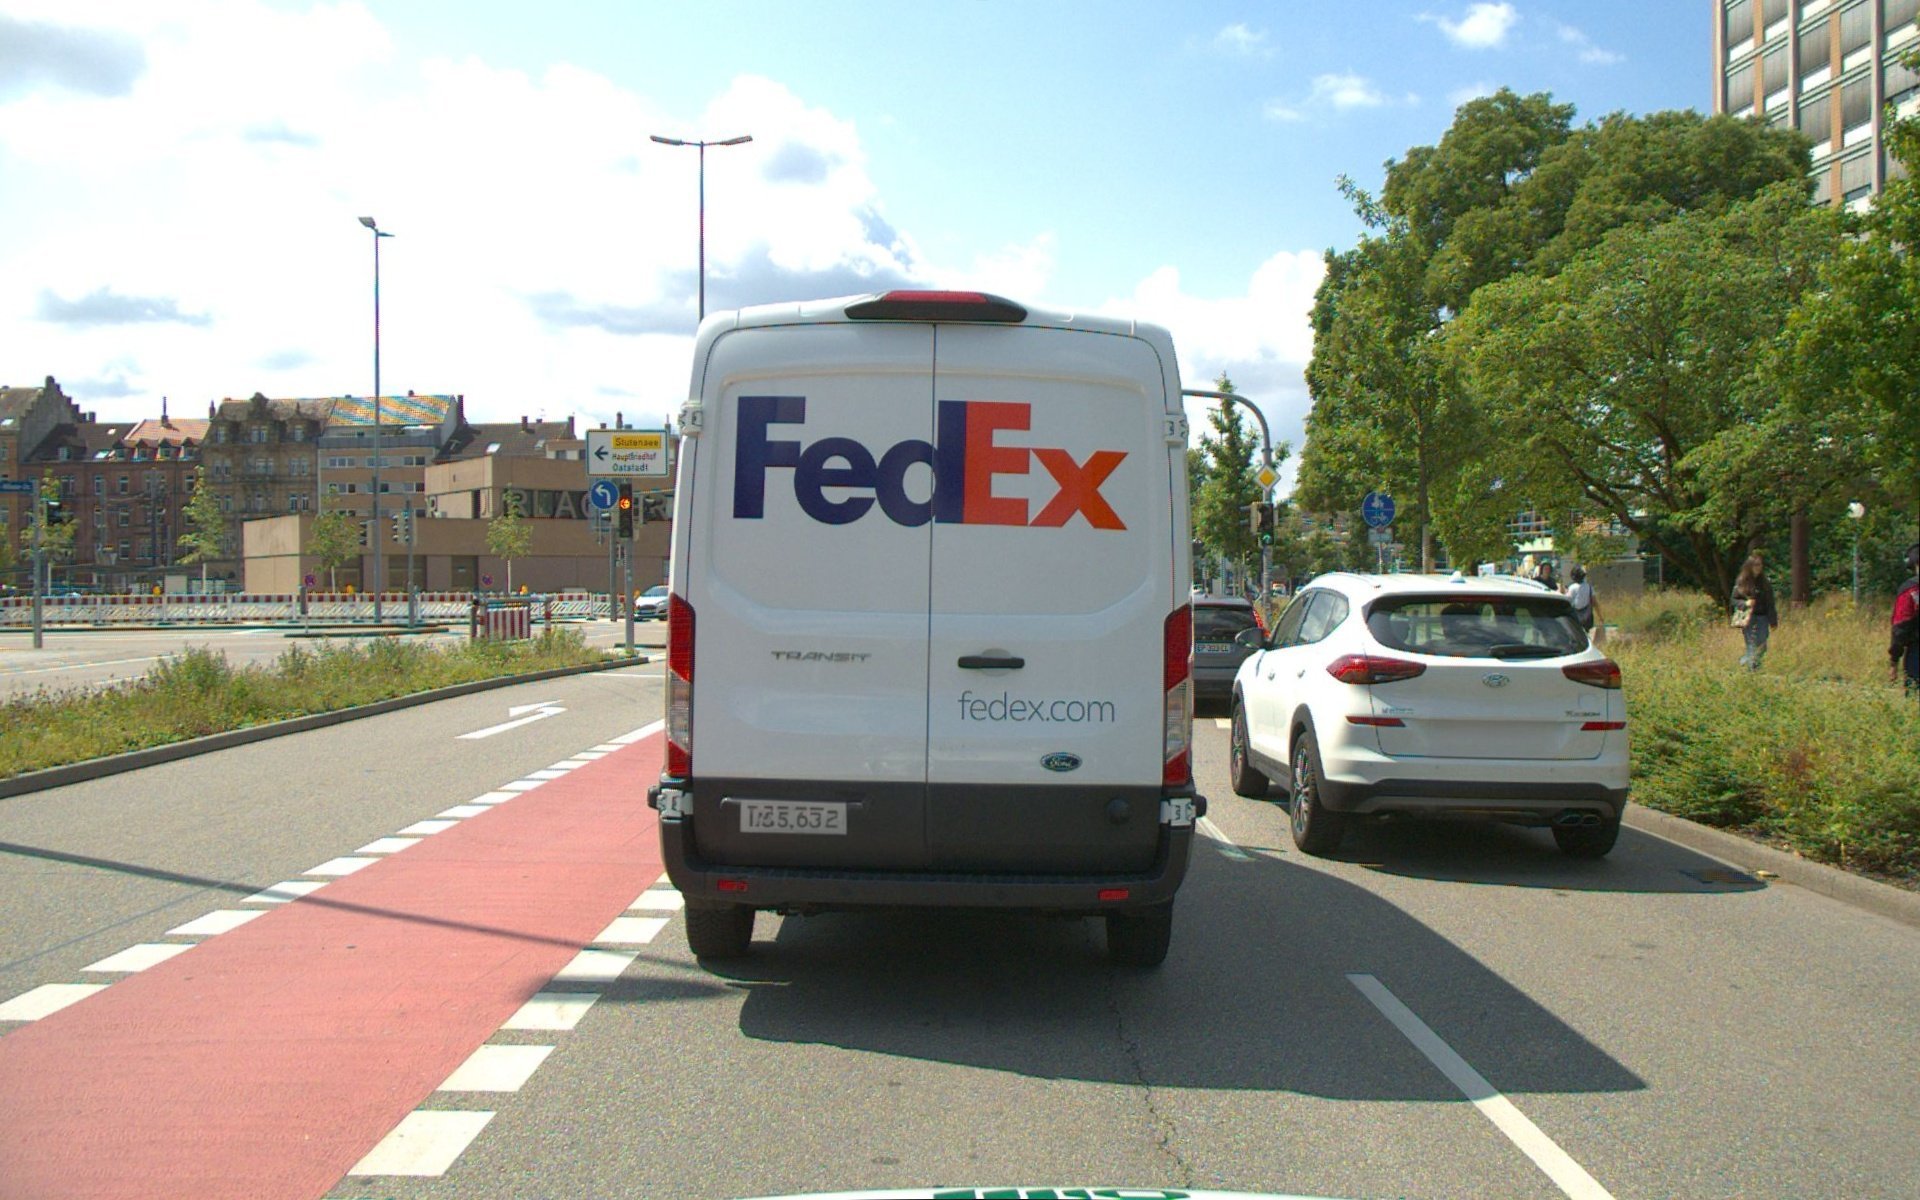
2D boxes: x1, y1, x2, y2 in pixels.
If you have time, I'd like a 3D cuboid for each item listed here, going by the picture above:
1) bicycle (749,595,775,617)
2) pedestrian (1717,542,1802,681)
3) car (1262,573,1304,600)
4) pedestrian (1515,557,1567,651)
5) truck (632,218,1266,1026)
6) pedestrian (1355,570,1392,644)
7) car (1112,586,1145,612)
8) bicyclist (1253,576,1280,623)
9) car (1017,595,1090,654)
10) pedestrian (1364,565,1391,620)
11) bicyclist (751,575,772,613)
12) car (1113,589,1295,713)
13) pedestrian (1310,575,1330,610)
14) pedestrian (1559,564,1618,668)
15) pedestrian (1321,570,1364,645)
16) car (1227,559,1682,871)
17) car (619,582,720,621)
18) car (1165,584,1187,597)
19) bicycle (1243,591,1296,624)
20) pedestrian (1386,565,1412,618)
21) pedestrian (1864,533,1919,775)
[{"bbox_3d":[-8.640,0.249,72.200,0.760,0.905,2.109,-1,1,2],"label":"bicycle"},{"bbox_3d":[10.548,0.149,21.849,0.653,1.780,0.878,-2,0,-1],"label":"pedestrian"},{"bbox_3d":[20.691,-0.859,105.919,1.843,1.670,3.955,0,1,24],"label":"car"},{"bbox_3d":[11.311,0.069,32.223,0.734,1.780,0.667,-2,0,-2],"label":"pedestrian"},{"bbox_3d":[-0.075,0.068,8.508,2.093,2.686,5.916,1,0,-1],"label":"truck"},{"bbox_3d":[10.170,0.175,40.695,0.653,1.777,0.609,-2,0,-7],"label":"pedestrian"},{"bbox_3d":[13.852,-0.039,135.915,1.951,2.049,4.125,1,0,17],"label":"car"},{"bbox_3d":[10.930,-0.022,58.959,0.810,1.629,0.580,-3,-1,6],"label":"bicyclist"},{"bbox_3d":[2.688,0.645,46.755,1.841,1.532,4.158,1,1,6],"label":"car"},{"bbox_3d":[14.214,-0.265,56.314,0.734,1.834,0.610,-2,0,6],"label":"pedestrian"},{"bbox_3d":[-8.647,-0.272,72.202,0.760,1.647,0.843,-1,0,2],"label":"bicyclist"},{"bbox_3d":[3.084,0.599,21.661,1.875,1.444,3.919,0,1,1],"label":"car"},{"bbox_3d":[17.138,-0.350,78.747,0.740,1.617,0.761,1,-1,1],"label":"pedestrian"},{"bbox_3d":[10.057,0.255,26.488,0.653,1.624,0.648,-2,0,-1],"label":"pedestrian"},{"bbox_3d":[9.344,0.178,40.437,0.735,1.808,0.880,-2,0,-7],"label":"pedestrian"},{"bbox_3d":[3.000,0.595,11.009,1.842,1.670,4.233,0,1,1],"label":"car"},{"bbox_3d":[-11.850,0.090,67.650,1.956,1.534,4.010,1,0,29],"label":"car"},{"bbox_3d":[28.113,-1.248,215.296,1.952,1.601,4.178,1,0,21],"label":"car"},{"bbox_3d":[11.011,0.263,58.946,1.771,1.068,0.592,-3,-1,6],"label":"bicycle"},{"bbox_3d":[15.003,-0.282,56.515,0.734,1.783,0.610,-2,0,6],"label":"pedestrian"},{"bbox_3d":[7.344,0.384,12.370,0.653,1.780,0.848,-2,0,-1],"label":"pedestrian"}]
